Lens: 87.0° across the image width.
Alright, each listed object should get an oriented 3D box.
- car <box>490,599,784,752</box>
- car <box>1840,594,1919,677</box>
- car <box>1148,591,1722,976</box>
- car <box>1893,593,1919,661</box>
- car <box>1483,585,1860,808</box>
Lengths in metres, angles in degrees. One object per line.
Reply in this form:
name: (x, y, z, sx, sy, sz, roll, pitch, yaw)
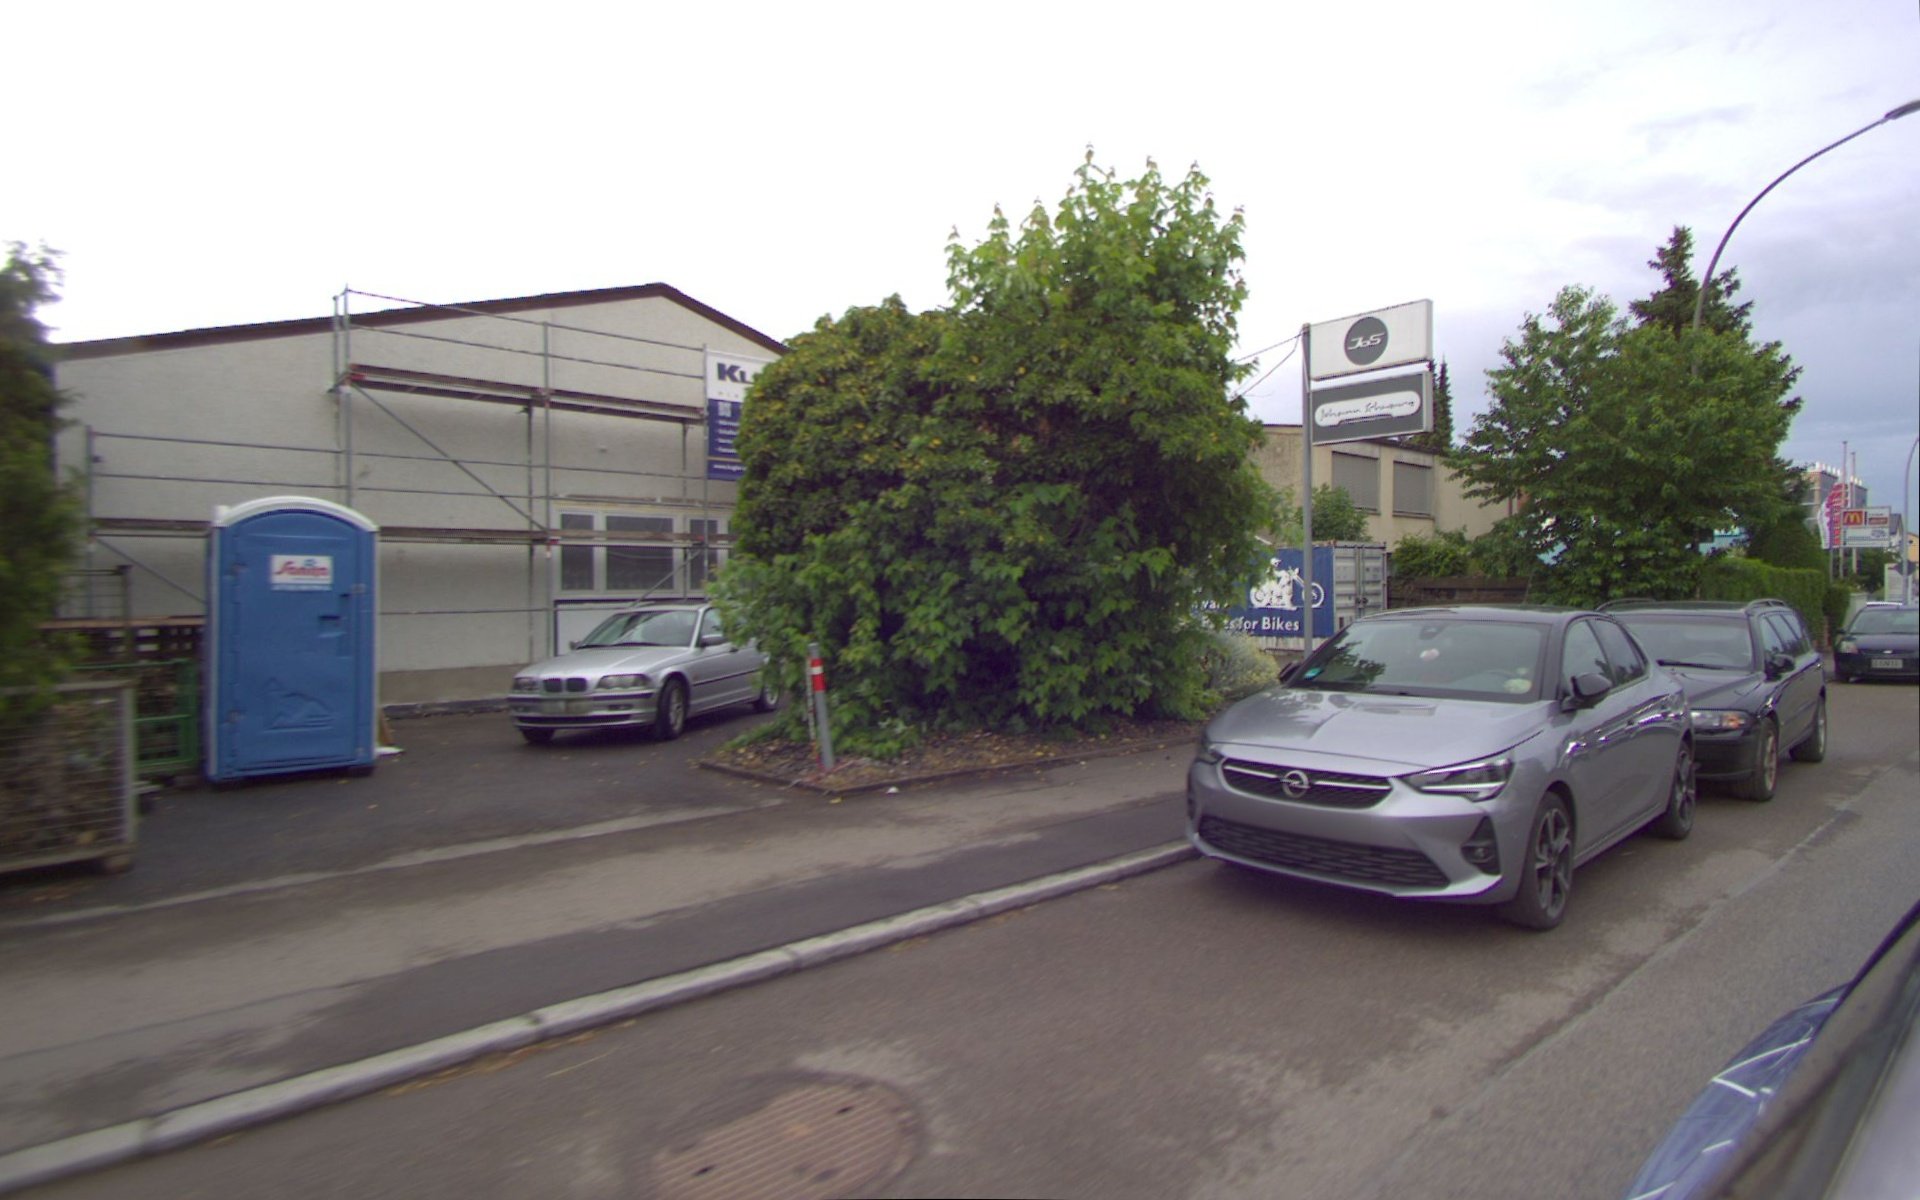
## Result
car: (-3.429, 0.710, 11.500, 1.580, 1.386, 3.757, 0, 1, 11)
car: (18.302, 0.629, 19.380, 3.625, 1.483, 1.675, 0, -1, -41)
car: (2.962, 0.692, 5.860, 3.975, 1.458, 1.654, 0, 1, -43)
car: (22.585, 0.578, 22.976, 3.489, 1.483, 1.675, 0, -1, -41)
car: (6.372, 0.625, 8.849, 4.407, 1.458, 1.764, 0, 1, -42)
